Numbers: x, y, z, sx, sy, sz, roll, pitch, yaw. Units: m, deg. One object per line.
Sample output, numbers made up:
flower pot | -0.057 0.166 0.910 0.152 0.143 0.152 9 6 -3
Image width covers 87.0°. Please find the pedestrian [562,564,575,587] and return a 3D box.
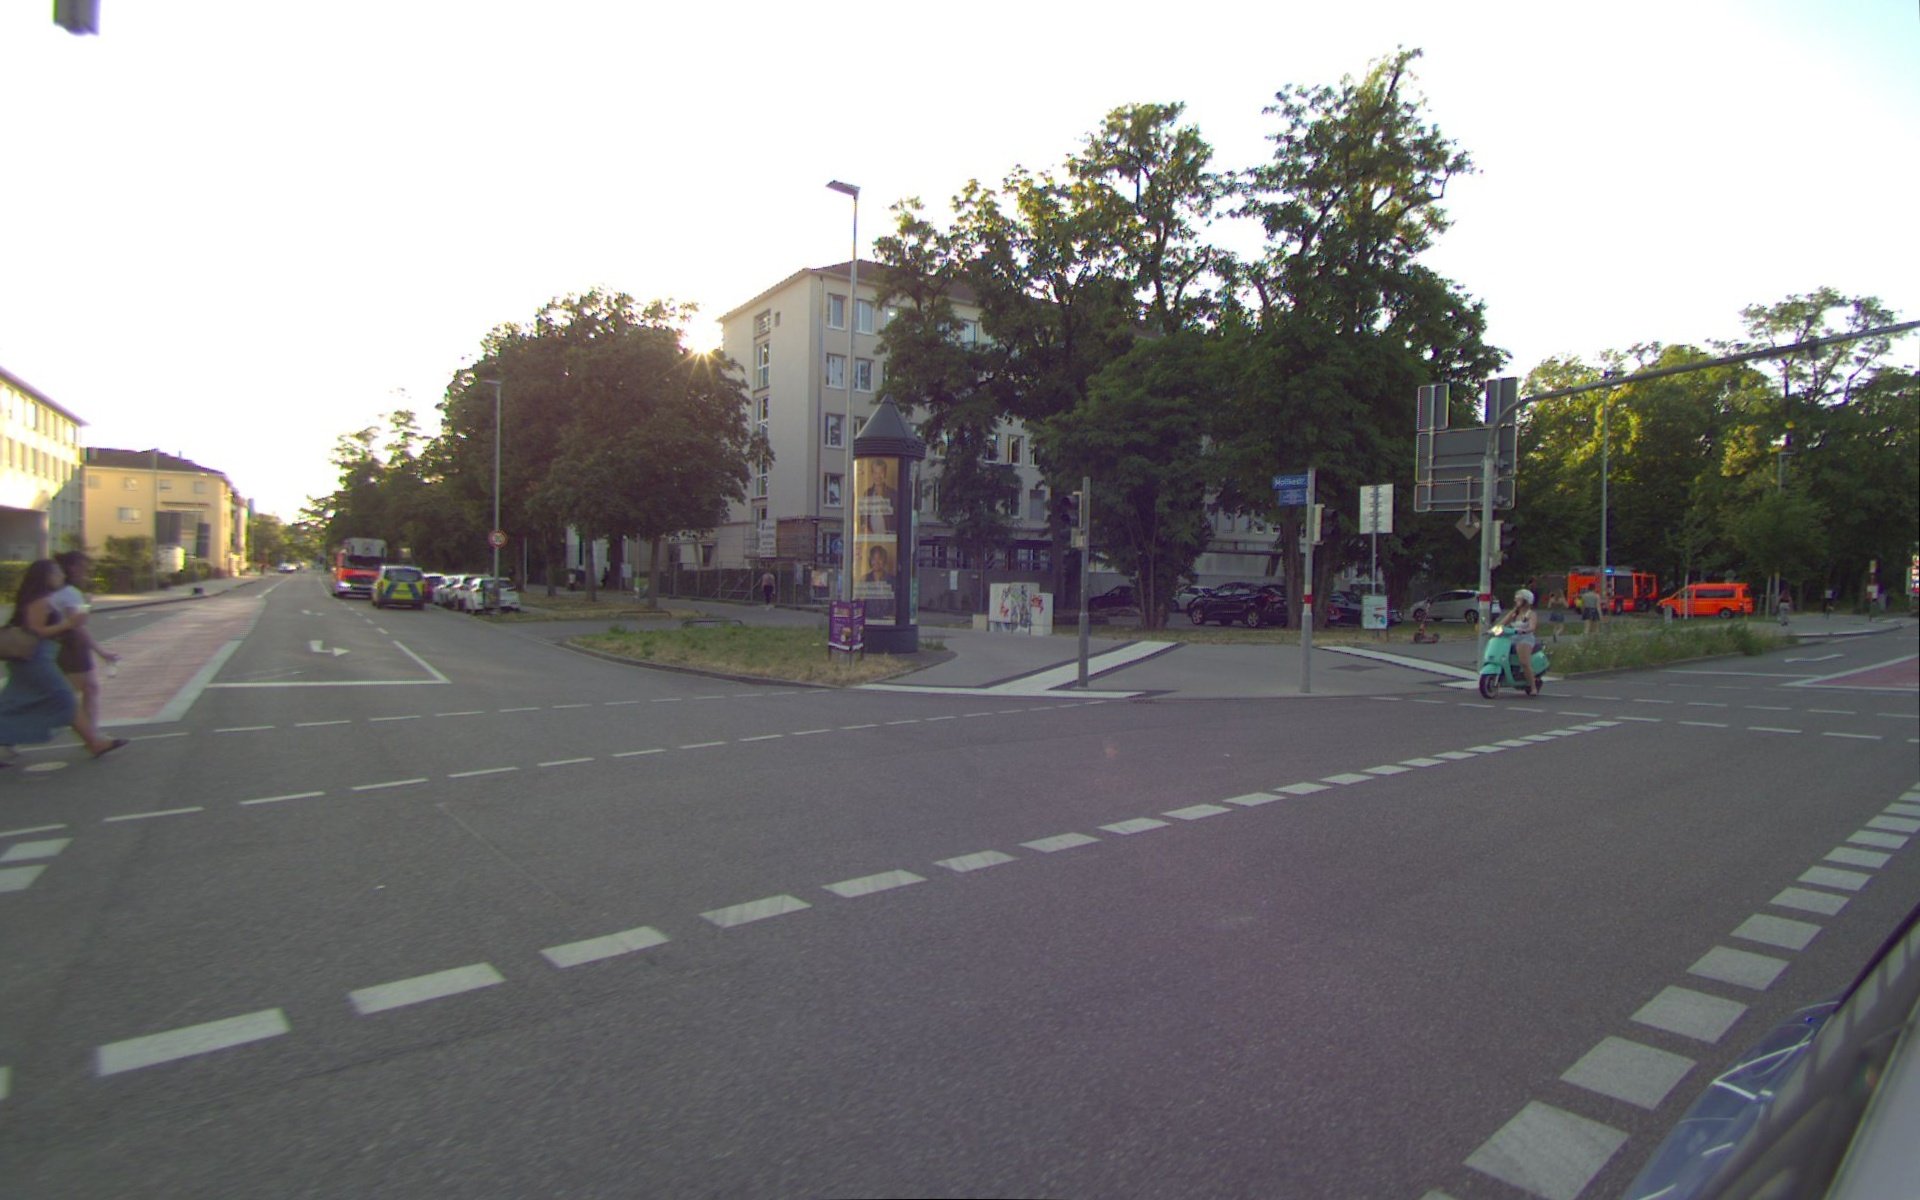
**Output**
pedestrian | -27.506 -1.729 71.051 0.670 1.642 0.688 0 1 -35

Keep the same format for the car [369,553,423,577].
car | -48.723 -3.016 87.472 3.745 1.804 1.930 -5 3 -40

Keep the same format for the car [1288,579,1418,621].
car | 15.548 -0.048 40.252 1.883 1.482 4.519 0 2 -37

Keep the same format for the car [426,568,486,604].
car | -24.282 -0.707 48.702 1.962 1.660 4.000 0 2 -36

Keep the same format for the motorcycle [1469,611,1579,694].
motorcycle | 8.870 0.789 15.893 1.856 1.213 0.685 0 0 -32

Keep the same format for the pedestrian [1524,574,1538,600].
pedestrian | 41.621 -0.971 73.734 0.681 1.865 0.832 2 1 44

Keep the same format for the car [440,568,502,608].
car | -21.559 -0.548 44.554 1.961 1.631 4.002 0 2 -33

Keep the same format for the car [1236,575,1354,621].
car | 12.799 -0.120 38.906 1.881 1.631 4.003 0 2 -32

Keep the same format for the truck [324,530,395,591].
truck | -34.127 -2.196 57.304 2.591 3.179 10.274 -1 2 -36

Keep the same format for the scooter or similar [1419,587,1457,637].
scooter or similar | 12.505 0.303 26.452 1.158 1.287 0.441 0 1 -40

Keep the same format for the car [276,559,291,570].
car | -123.772 -6.536 185.308 1.960 2.038 4.005 0 2 -29

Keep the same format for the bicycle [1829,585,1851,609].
bicycle | 46.867 -0.184 53.900 1.865 1.256 0.571 0 2 -40

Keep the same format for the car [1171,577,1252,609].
car | 13.107 -0.406 52.990 1.879 1.540 3.921 0 2 -31

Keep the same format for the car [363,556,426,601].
car | -25.476 -0.928 45.518 2.017 1.886 4.495 0 -1 -36

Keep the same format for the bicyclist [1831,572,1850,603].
bicyclist | 46.896 -0.672 53.912 1.019 1.652 0.571 0 1 -40

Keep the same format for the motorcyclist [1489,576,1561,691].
motorcyclist | 8.873 0.503 15.899 0.677 1.759 0.741 0 0 -31

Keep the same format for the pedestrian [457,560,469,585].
pedestrian | -33.512 -1.862 68.206 0.674 1.642 0.684 0 1 -28

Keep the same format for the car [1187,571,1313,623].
car | 10.590 -0.174 37.208 1.882 1.762 4.241 0 2 -34

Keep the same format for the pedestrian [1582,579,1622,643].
pedestrian | 17.371 0.291 27.383 0.763 1.681 0.720 0 1 -42

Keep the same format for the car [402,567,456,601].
car | -27.802 -0.856 52.946 1.962 1.660 4.000 0 2 -36

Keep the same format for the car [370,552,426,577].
car | -47.280 -3.000 85.167 3.745 1.804 1.930 -5 3 -40

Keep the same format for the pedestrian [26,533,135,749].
pedestrian | -7.628 0.327 8.803 0.676 1.776 0.682 1 1 -40

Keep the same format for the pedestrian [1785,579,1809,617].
pedestrian | 37.307 -0.101 45.132 0.676 1.642 0.682 1 1 -40

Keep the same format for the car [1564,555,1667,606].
car | 44.334 -1.296 68.321 8.137 3.284 2.775 0 2 -34

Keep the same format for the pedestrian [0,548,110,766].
pedestrian | -7.301 0.423 8.022 0.830 1.642 0.682 1 1 -40

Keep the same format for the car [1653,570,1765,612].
car | 46.063 -0.597 62.325 1.963 2.422 5.168 0 2 -37

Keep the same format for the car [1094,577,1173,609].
car | 8.553 -0.363 50.077 1.738 1.477 3.626 0 2 -38

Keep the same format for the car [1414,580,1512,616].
car | 22.802 -0.121 46.001 1.632 1.477 3.667 0 2 -35

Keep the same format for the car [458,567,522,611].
car | -18.960 -0.470 40.724 1.863 1.660 4.003 0 2 -32

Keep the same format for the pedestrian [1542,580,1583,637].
pedestrian | 16.682 0.215 28.027 0.775 1.542 0.736 0 1 -40

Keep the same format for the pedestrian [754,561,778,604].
pedestrian | -7.970 -0.728 41.667 0.690 1.760 0.897 0 1 -31
